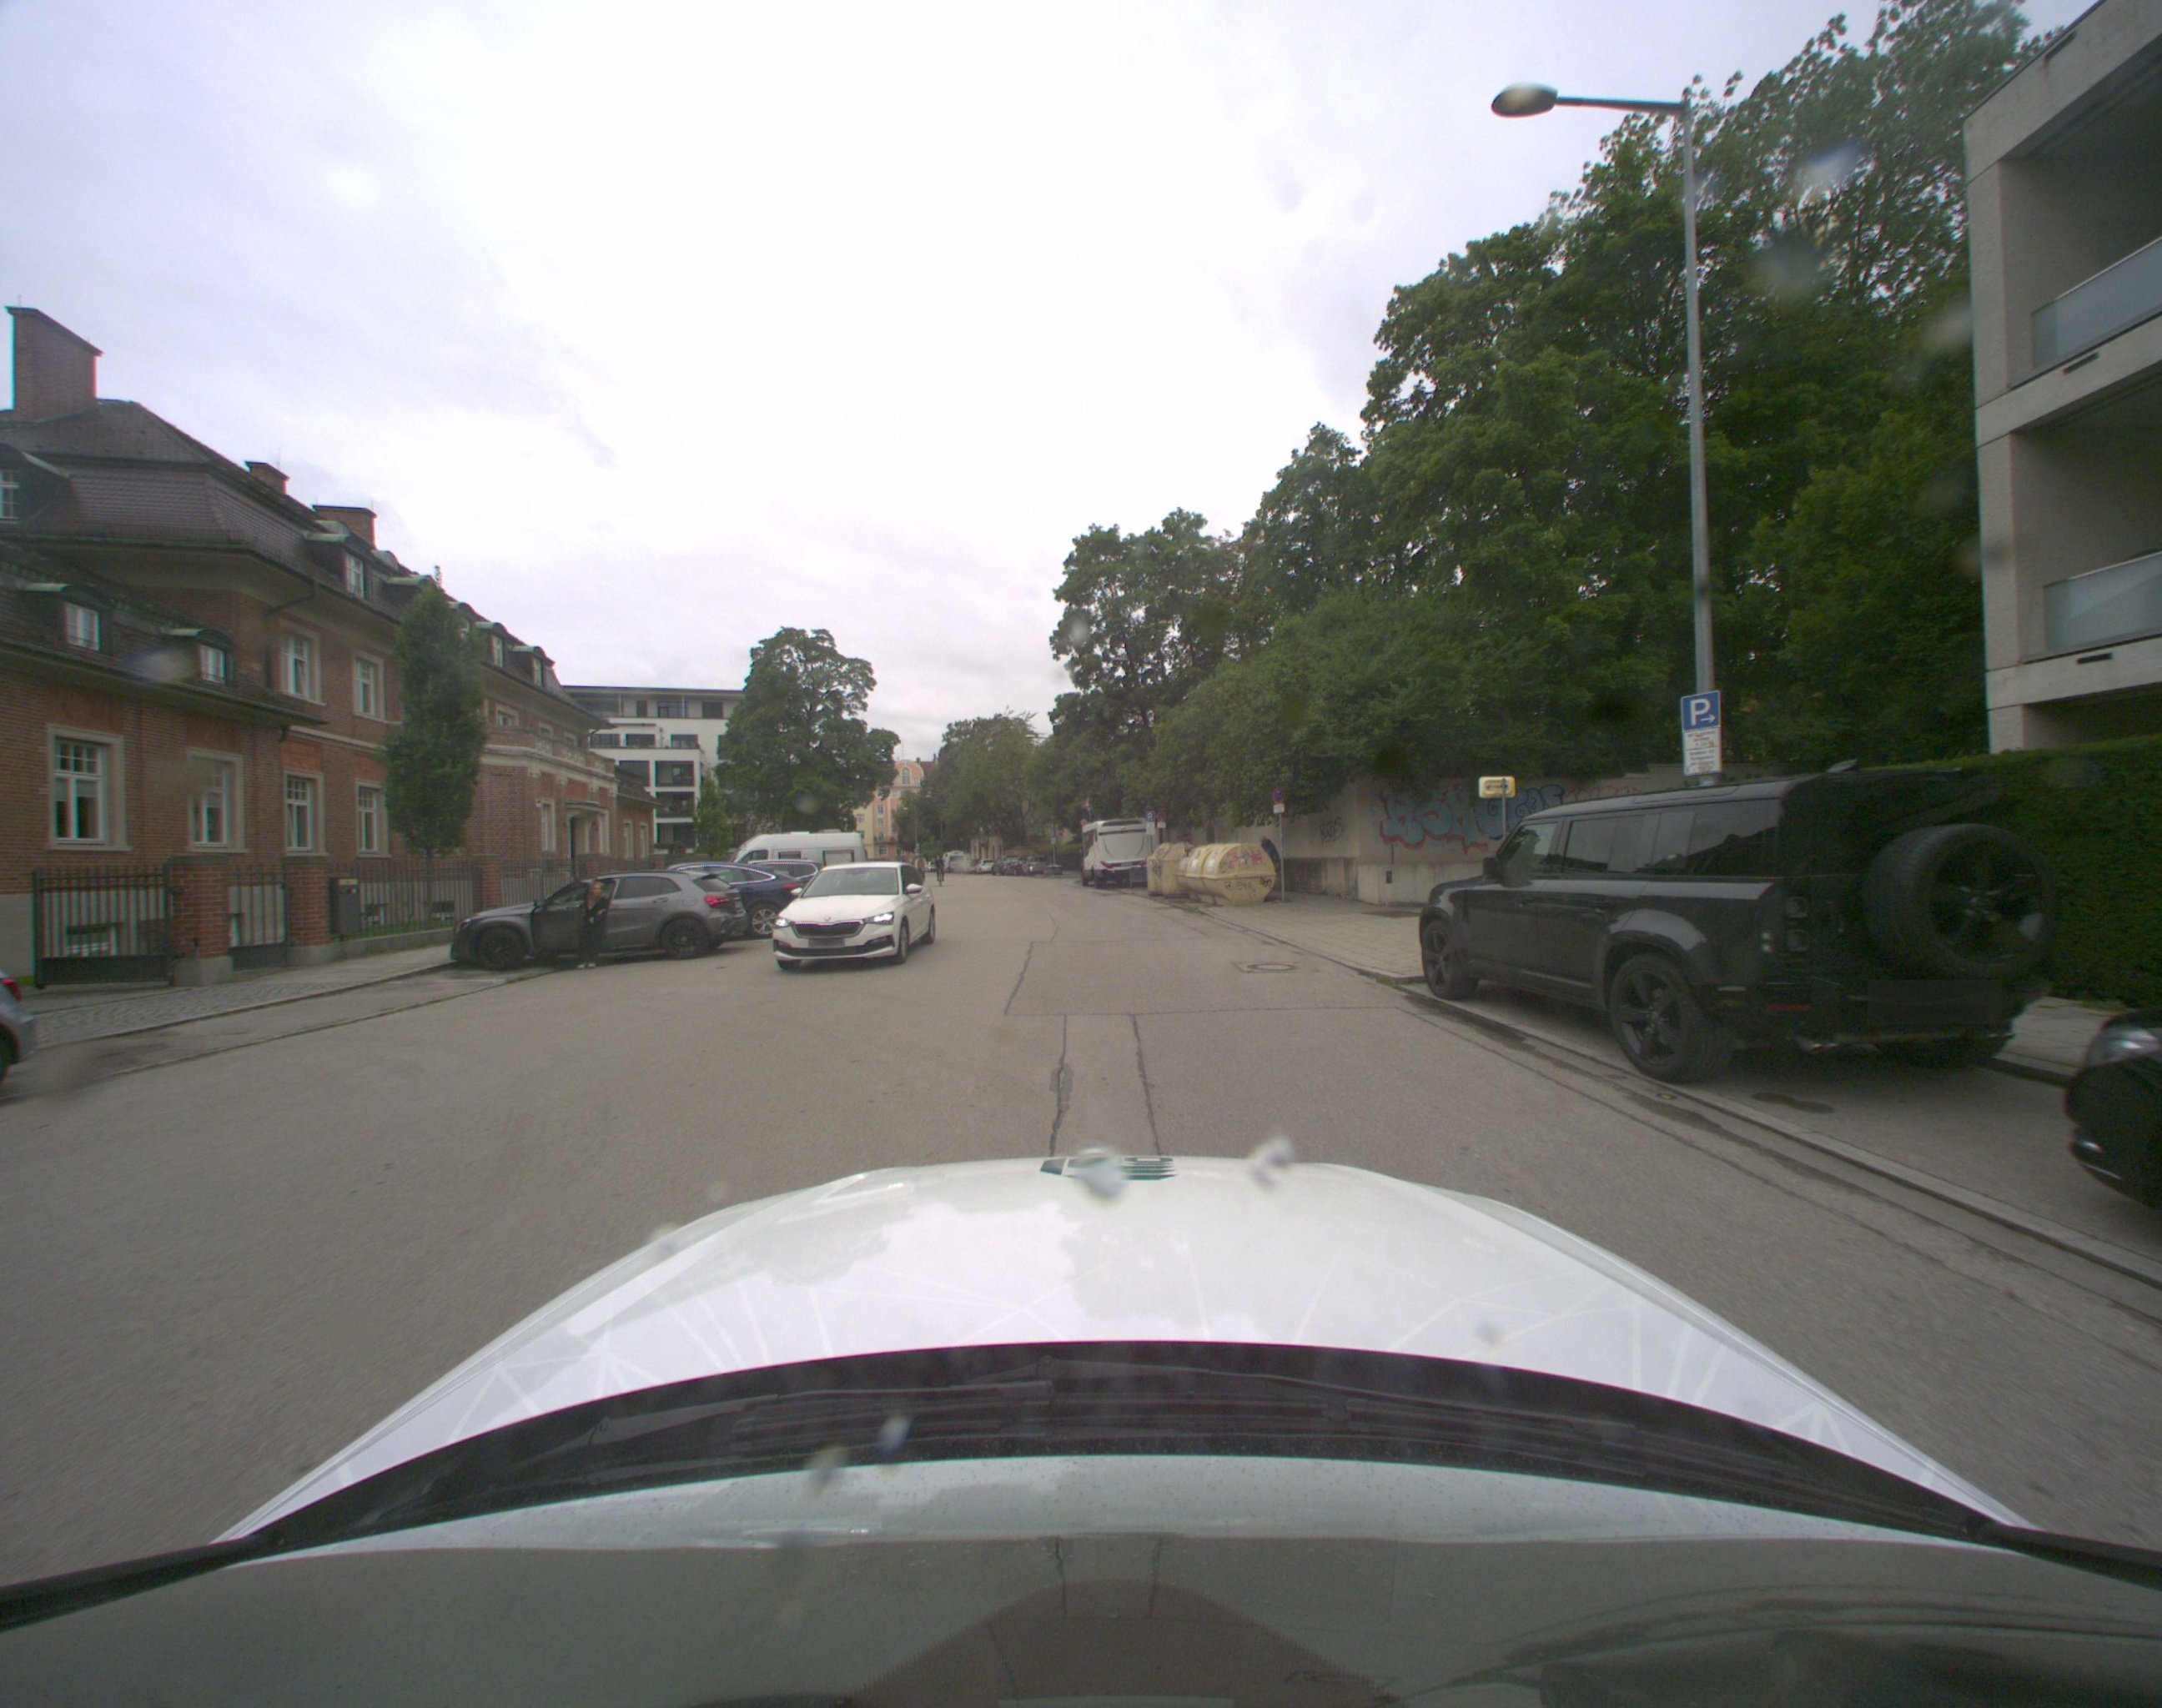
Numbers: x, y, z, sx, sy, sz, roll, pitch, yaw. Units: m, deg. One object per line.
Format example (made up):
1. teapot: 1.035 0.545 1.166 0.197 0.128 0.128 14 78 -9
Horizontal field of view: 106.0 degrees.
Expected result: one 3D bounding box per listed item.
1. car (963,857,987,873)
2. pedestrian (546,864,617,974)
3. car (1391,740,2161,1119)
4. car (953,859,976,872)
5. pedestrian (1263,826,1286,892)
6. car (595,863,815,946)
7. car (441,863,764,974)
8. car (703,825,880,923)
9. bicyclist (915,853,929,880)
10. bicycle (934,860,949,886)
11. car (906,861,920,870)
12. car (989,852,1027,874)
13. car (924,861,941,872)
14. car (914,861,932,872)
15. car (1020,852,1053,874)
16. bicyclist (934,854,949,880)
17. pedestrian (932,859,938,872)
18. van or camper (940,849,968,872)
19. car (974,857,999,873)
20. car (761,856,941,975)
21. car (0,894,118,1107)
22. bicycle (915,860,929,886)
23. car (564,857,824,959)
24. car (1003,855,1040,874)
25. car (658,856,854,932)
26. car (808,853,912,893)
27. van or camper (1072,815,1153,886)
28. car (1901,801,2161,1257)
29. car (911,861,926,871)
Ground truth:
1. car: -11.226 1.114 85.872 1.712 1.537 4.214 -4 0 -18
2. pedestrian: -7.845 0.999 12.820 0.589 1.647 0.713 -4 0 -5
3. car: 4.541 0.403 6.685 1.982 1.871 5.076 -1 -1 -1
4. car: -13.072 1.310 91.323 1.712 1.369 4.413 -3 0 -18
5. pedestrian: 5.963 0.164 25.123 0.624 1.985 0.801 -2 0 13
6. car: -8.766 1.106 19.099 4.438 1.486 1.815 -4 -1 -31
7. car: -7.961 1.035 14.007 4.334 1.530 1.925 -2 -1 -12
8. car: -8.816 0.534 24.891 4.654 2.563 2.211 -3 1 -32
9. bicyclist: -8.537 0.684 43.667 0.697 1.397 0.926 -2 0 -13
10. bicycle: -7.562 1.005 44.152 0.707 1.305 2.111 -2 0 -10
11. car: -27.551 1.911 133.436 1.676 1.344 3.810 -3 2 -21
12. car: -6.508 0.792 72.018 2.001 1.711 4.850 -4 0 -21
13. car: -21.008 1.748 115.095 1.713 1.408 4.103 -3 0 -19
14. car: -24.028 1.823 123.760 1.810 1.465 3.809 -3 2 -22
15. car: -3.515 0.711 63.818 1.746 1.536 2.925 -4 0 -21
16. bicyclist: -7.536 0.711 43.954 0.696 1.352 0.927 -2 0 -9
17. pedestrian: -22.160 1.759 123.301 0.775 2.013 0.559 -2 0 -21
18. van or camper: -15.272 0.831 97.790 2.199 2.550 5.691 -4 0 -19
19. car: -9.421 1.076 81.091 1.690 1.441 3.975 -3 0 -18
20. car: -3.345 0.798 12.669 1.768 1.475 4.129 -2 0 -3
21. car: -8.912 1.179 4.650 1.734 1.535 4.149 -5 0 1
22. bicycle: -8.539 1.012 43.711 0.707 1.305 2.110 -2 0 -11
23. car: -7.894 1.007 16.773 4.544 1.593 1.945 -4 0 -32
24. car: -4.974 0.887 67.664 1.884 1.427 4.192 -4 0 -21
25. car: -8.688 1.024 21.872 4.544 1.625 1.947 -3 -1 -32
26. car: -11.072 0.937 40.897 4.550 1.665 1.965 -4 0 -39
27. van or camper: 1.292 -0.144 38.011 2.272 2.906 7.252 -2 0 -10
28. car: 4.513 0.569 1.313 1.742 1.539 4.568 -2 0 -1
29. car: -25.781 1.943 128.873 1.676 1.344 3.810 -3 2 -21
